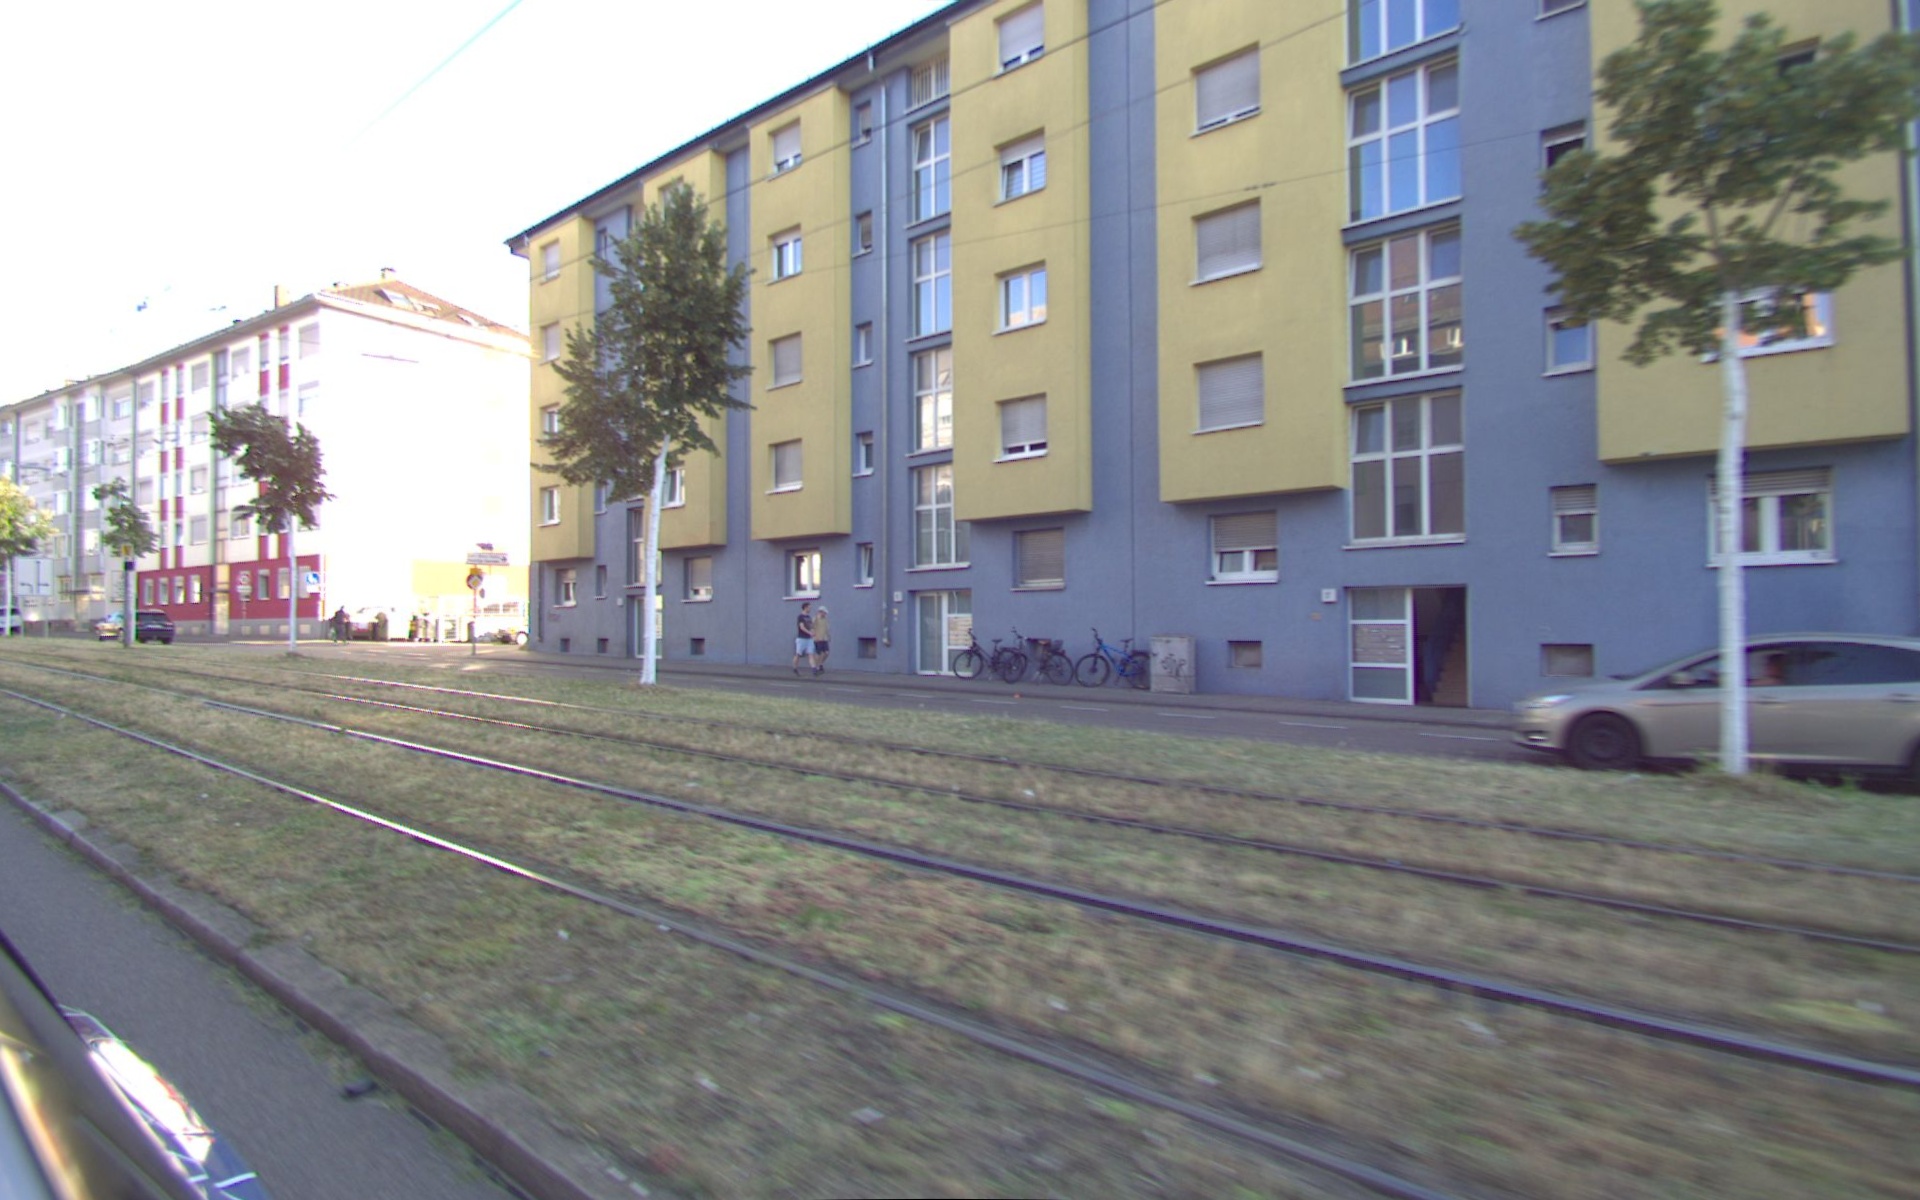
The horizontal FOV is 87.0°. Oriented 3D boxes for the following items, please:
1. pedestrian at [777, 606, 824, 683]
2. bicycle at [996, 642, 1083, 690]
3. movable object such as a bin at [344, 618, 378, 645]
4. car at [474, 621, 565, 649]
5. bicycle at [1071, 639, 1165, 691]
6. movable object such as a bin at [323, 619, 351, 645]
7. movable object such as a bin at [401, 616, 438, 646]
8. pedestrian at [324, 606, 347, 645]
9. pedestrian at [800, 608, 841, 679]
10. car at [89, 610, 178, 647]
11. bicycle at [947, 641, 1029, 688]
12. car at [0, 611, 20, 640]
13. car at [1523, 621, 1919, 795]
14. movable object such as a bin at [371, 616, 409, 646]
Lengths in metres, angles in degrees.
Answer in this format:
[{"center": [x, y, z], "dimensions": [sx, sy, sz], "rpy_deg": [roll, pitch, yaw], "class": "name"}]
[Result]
[{"center": [-3.843, 1.056, 24.418], "dimensions": [0.884, 1.786, 0.587], "rpy_deg": [-2, 2, 38], "class": "pedestrian"}, {"center": [1.670, 1.375, 21.490], "dimensions": [1.910, 0.932, 0.423], "rpy_deg": [-1, 2, 40], "class": "bicycle"}, {"center": [-28.697, 1.489, 48.482], "dimensions": [0.804, 1.296, 1.148], "rpy_deg": [-1, -1, 34], "class": "movable object such as a bin"}, {"center": [-21.694, 1.718, 50.000], "dimensions": [1.698, 1.304, 3.829], "rpy_deg": [-1, -1, 35], "class": "car"}, {"center": [3.134, 1.282, 20.225], "dimensions": [1.910, 0.967, 0.423], "rpy_deg": [-1, -2, 40], "class": "bicycle"}, {"center": [-29.278, 1.499, 47.587], "dimensions": [0.804, 1.235, 0.859], "rpy_deg": [-1, -1, 34], "class": "movable object such as a bin"}, {"center": [-26.265, 1.516, 49.186], "dimensions": [1.105, 1.426, 1.206], "rpy_deg": [-1, -1, 34], "class": "movable object such as a bin"}, {"center": [-27.929, 1.132, 45.236], "dimensions": [0.789, 1.702, 0.608], "rpy_deg": [-1, -1, 33], "class": "pedestrian"}, {"center": [-3.468, 1.070, 25.143], "dimensions": [0.705, 1.707, 0.610], "rpy_deg": [-2, 2, 38], "class": "pedestrian"}, {"center": [-36.310, 1.256, 44.449], "dimensions": [4.785, 1.480, 1.777], "rpy_deg": [0, -3, 36], "class": "car"}, {"center": [0.598, 1.397, 22.183], "dimensions": [1.910, 0.932, 0.423], "rpy_deg": [-1, 1, 40], "class": "bicycle"}, {"center": [-62.388, 1.638, 64.961], "dimensions": [4.405, 1.843, 1.853], "rpy_deg": [-1, -2, 31], "class": "car"}, {"center": [8.053, 0.984, 9.888], "dimensions": [4.307, 1.471, 1.682], "rpy_deg": [0, -3, 36], "class": "car"}, {"center": [-27.038, 1.462, 48.008], "dimensions": [1.135, 1.426, 1.206], "rpy_deg": [-1, -1, 34], "class": "movable object such as a bin"}]
